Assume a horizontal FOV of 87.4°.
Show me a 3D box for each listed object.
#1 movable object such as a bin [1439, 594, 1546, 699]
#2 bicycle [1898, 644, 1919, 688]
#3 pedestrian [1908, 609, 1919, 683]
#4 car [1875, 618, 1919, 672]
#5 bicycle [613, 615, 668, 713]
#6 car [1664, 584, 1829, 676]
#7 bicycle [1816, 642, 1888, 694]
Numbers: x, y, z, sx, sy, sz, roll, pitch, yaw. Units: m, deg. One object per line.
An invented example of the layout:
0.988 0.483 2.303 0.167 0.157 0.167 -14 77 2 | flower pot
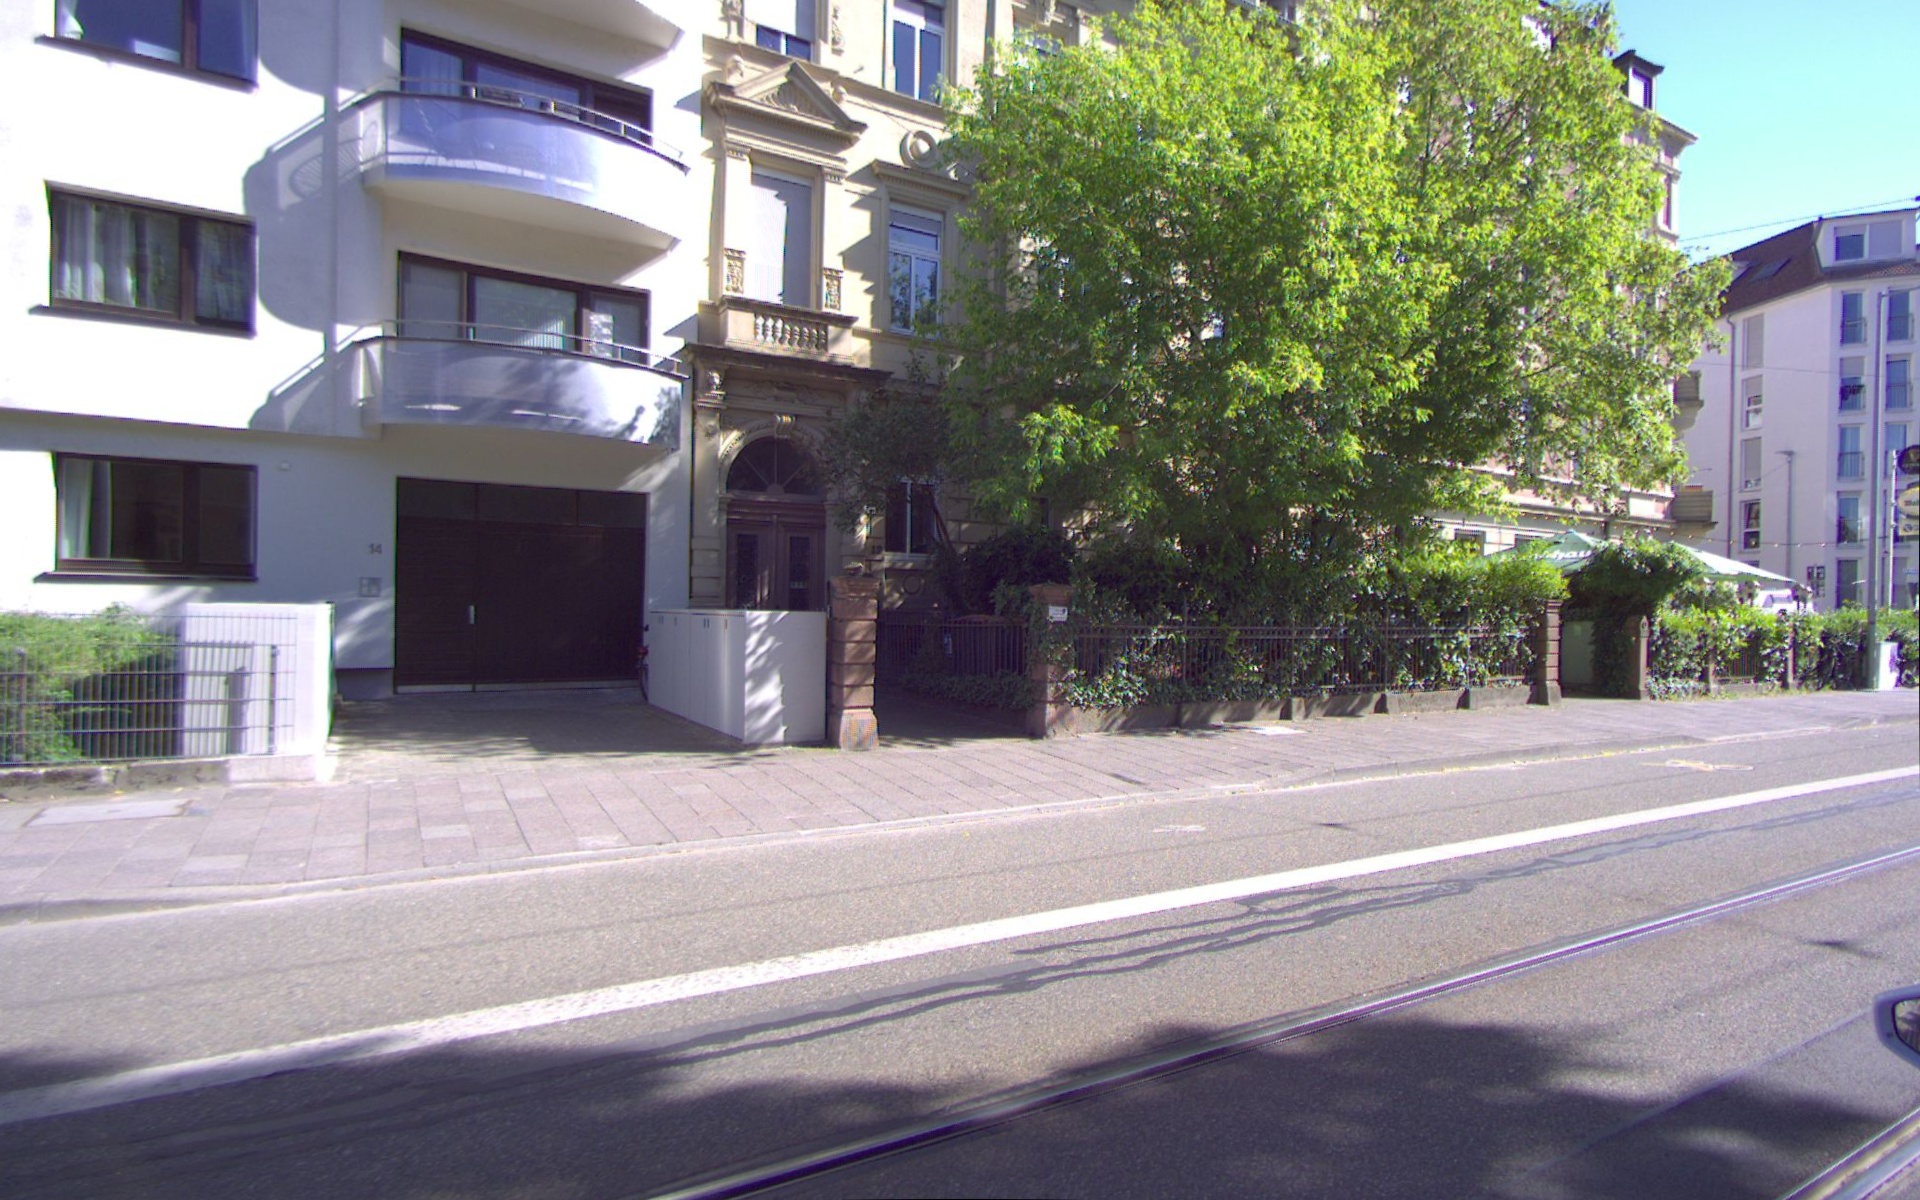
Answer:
9.480 0.806 17.934 1.024 1.754 1.285 1 2 -14 | movable object such as a bin
22.644 1.535 23.529 1.757 0.994 0.524 1 -1 -31 | bicycle
23.669 1.138 24.581 0.533 1.805 0.553 1 0 -33 | pedestrian
33.771 1.550 33.929 1.759 1.831 4.048 2 -1 -9 | car
-4.183 0.810 13.186 0.351 1.218 1.100 1 0 0 | bicycle
26.695 1.038 34.122 4.702 2.878 1.888 2 -1 -14 | car
19.274 1.449 21.684 2.197 1.052 0.511 1 0 -31 | bicycle
